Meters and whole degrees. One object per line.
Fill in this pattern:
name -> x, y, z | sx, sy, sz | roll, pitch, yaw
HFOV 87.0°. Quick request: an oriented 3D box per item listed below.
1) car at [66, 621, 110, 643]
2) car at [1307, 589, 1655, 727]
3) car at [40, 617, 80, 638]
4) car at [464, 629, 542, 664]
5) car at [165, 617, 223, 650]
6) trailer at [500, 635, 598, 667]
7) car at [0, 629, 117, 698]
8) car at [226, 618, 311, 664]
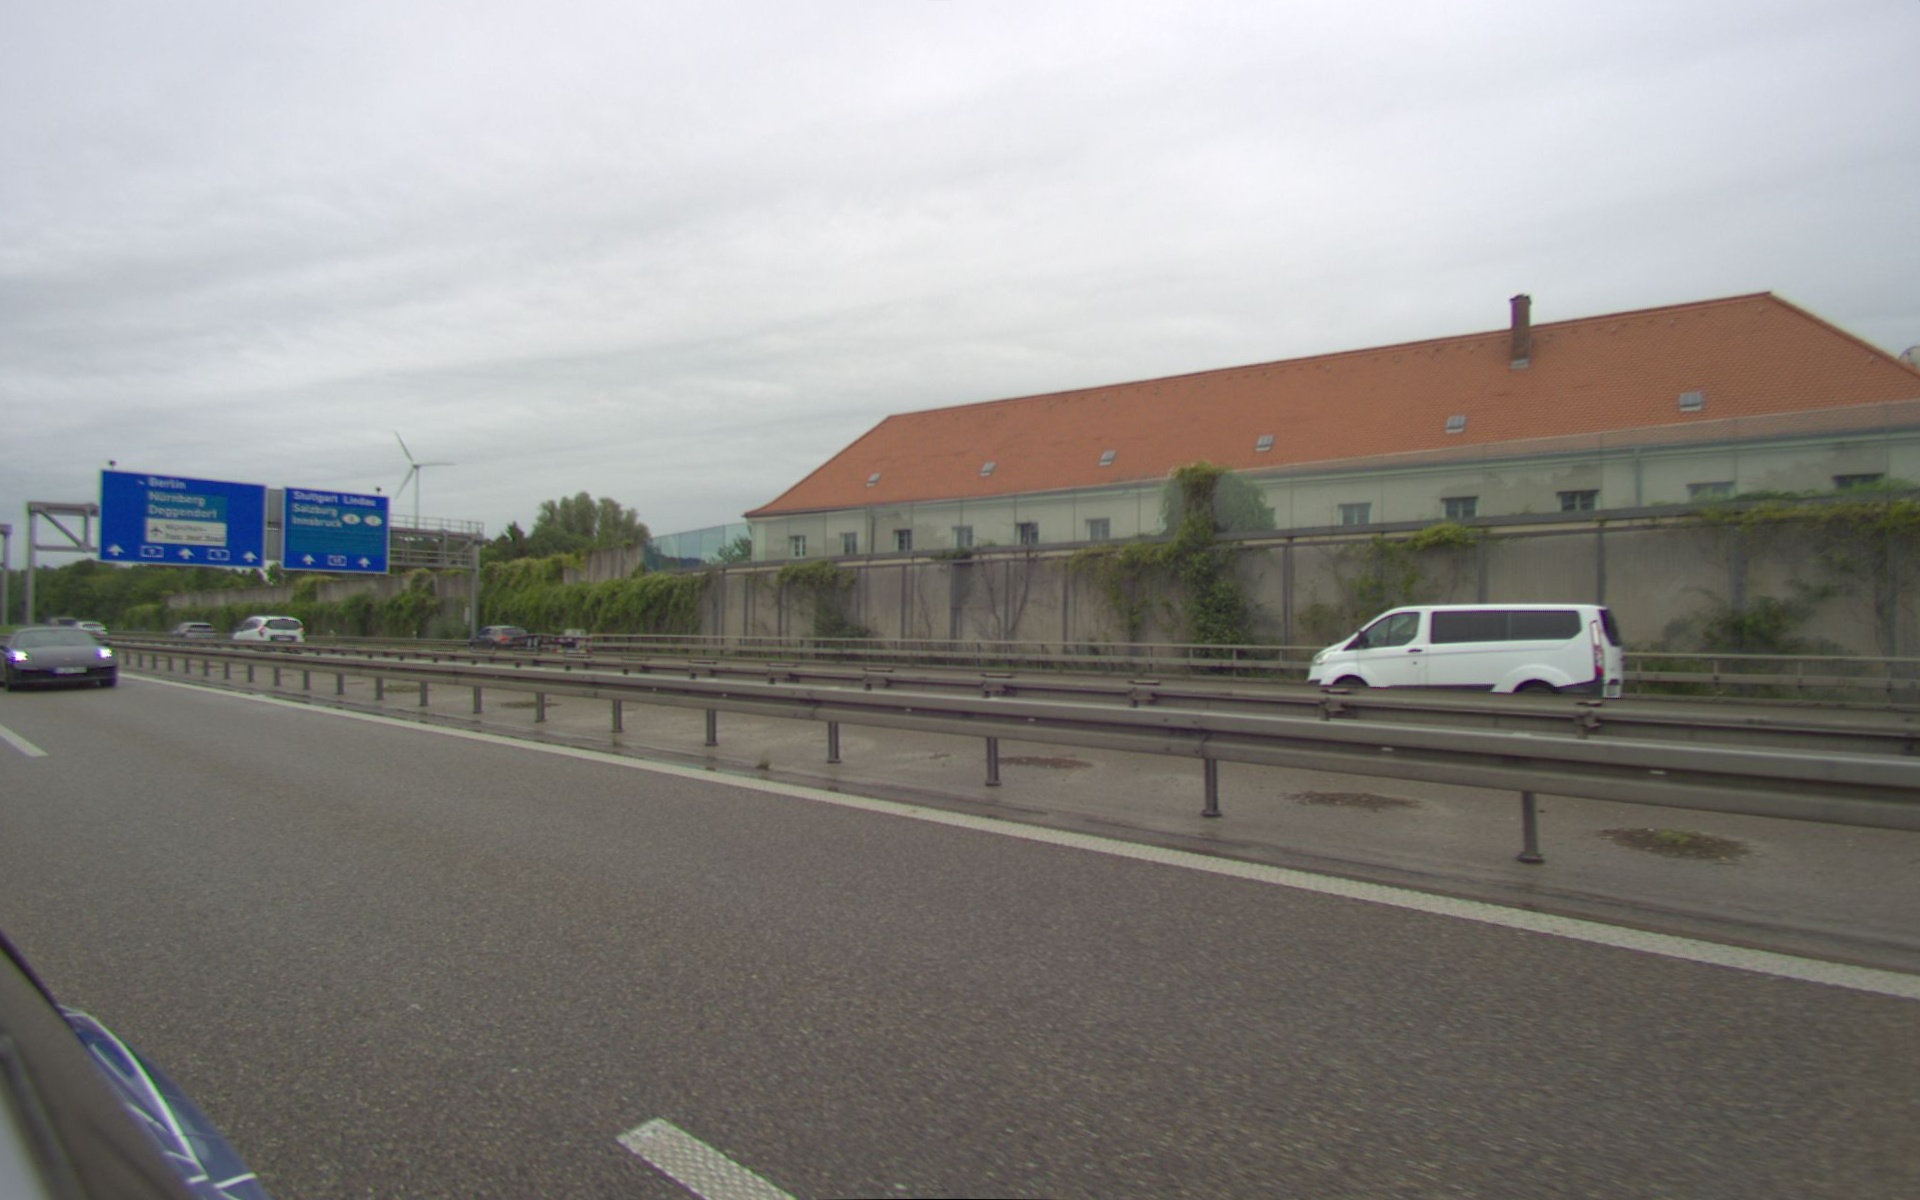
car -> -60.688, 2.237, 70.414 | 4.762, 1.417, 1.585 | -1, -5, 41
car -> 8.757, 0.875, 17.296 | 4.954, 2.029, 1.973 | -1, 0, 41
car -> -88.579, 2.654, 99.547 | 6.268, 1.987, 2.186 | -1, 0, 42
car -> -22.826, 2.285, 50.466 | 4.521, 1.564, 1.934 | -1, 0, 43
car -> -48.579, 2.084, 64.126 | 4.728, 2.029, 1.913 | -1, 0, 40
trailer -> -19.175, 2.324, 47.100 | 5.246, 1.277, 2.107 | -1, 0, 42
car -> -20.036, 1.310, 22.163 | 4.921, 1.281, 1.634 | -1, 0, 41
car -> -28.889, 1.649, 42.206 | 4.533, 1.764, 1.769 | -1, 0, 40
